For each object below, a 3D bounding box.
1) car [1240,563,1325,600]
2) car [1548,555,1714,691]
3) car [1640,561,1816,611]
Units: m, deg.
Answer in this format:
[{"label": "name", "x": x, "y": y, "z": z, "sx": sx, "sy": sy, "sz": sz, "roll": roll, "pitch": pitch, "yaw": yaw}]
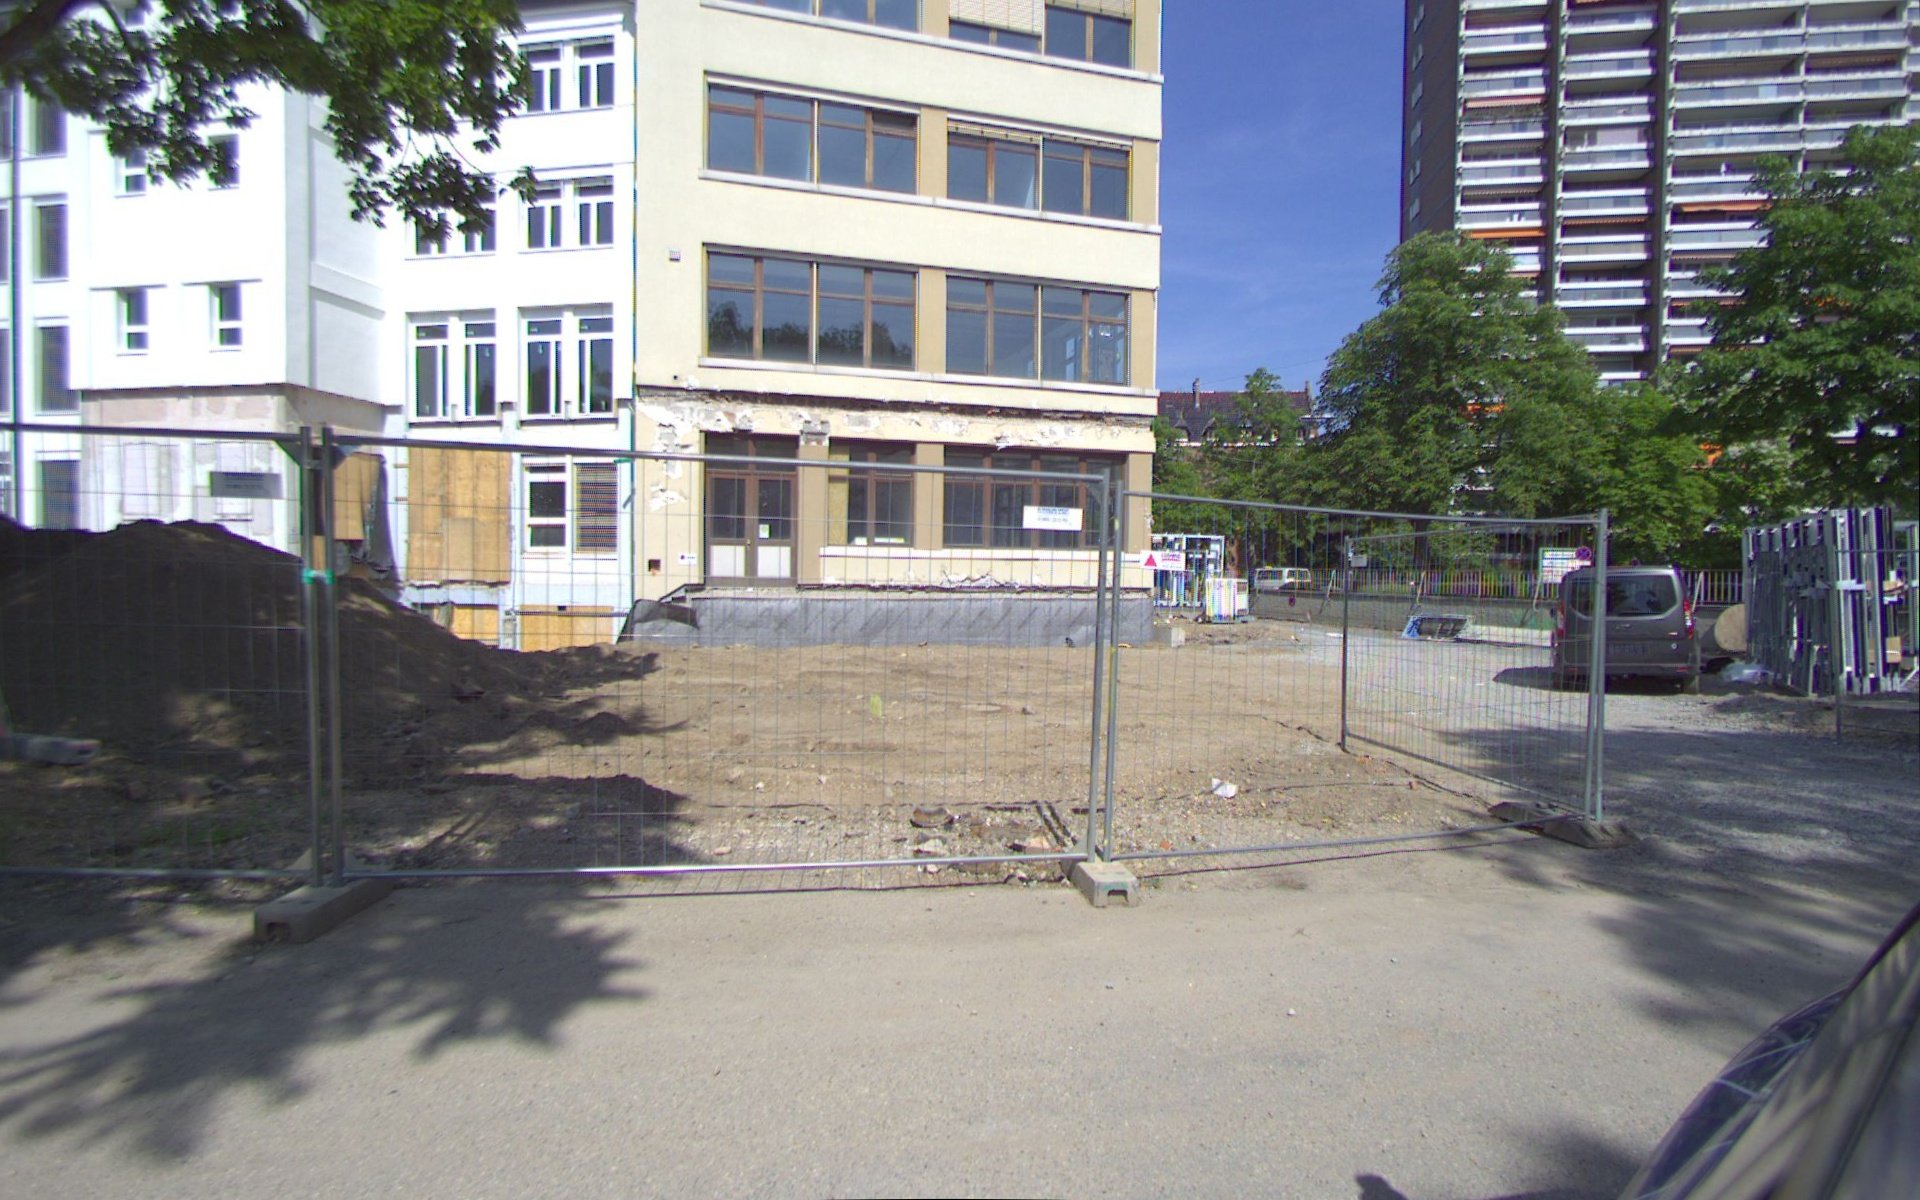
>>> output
[{"label": "car", "x": 18.351, "y": -1.083, "z": 57.833, "sx": 1.954, "sy": 1.970, "sz": 5.262, "roll": 1, "pitch": 2, "yaw": -17}, {"label": "car", "x": 10.377, "y": 0.263, "z": 15.810, "sx": 1.907, "sy": 1.802, "sz": 4.263, "roll": 0, "pitch": 1, "yaw": 32}, {"label": "car", "x": 25.738, "y": -0.501, "z": 34.119, "sx": 1.902, "sy": 1.540, "sz": 4.400, "roll": 1, "pitch": 1, "yaw": -17}]
